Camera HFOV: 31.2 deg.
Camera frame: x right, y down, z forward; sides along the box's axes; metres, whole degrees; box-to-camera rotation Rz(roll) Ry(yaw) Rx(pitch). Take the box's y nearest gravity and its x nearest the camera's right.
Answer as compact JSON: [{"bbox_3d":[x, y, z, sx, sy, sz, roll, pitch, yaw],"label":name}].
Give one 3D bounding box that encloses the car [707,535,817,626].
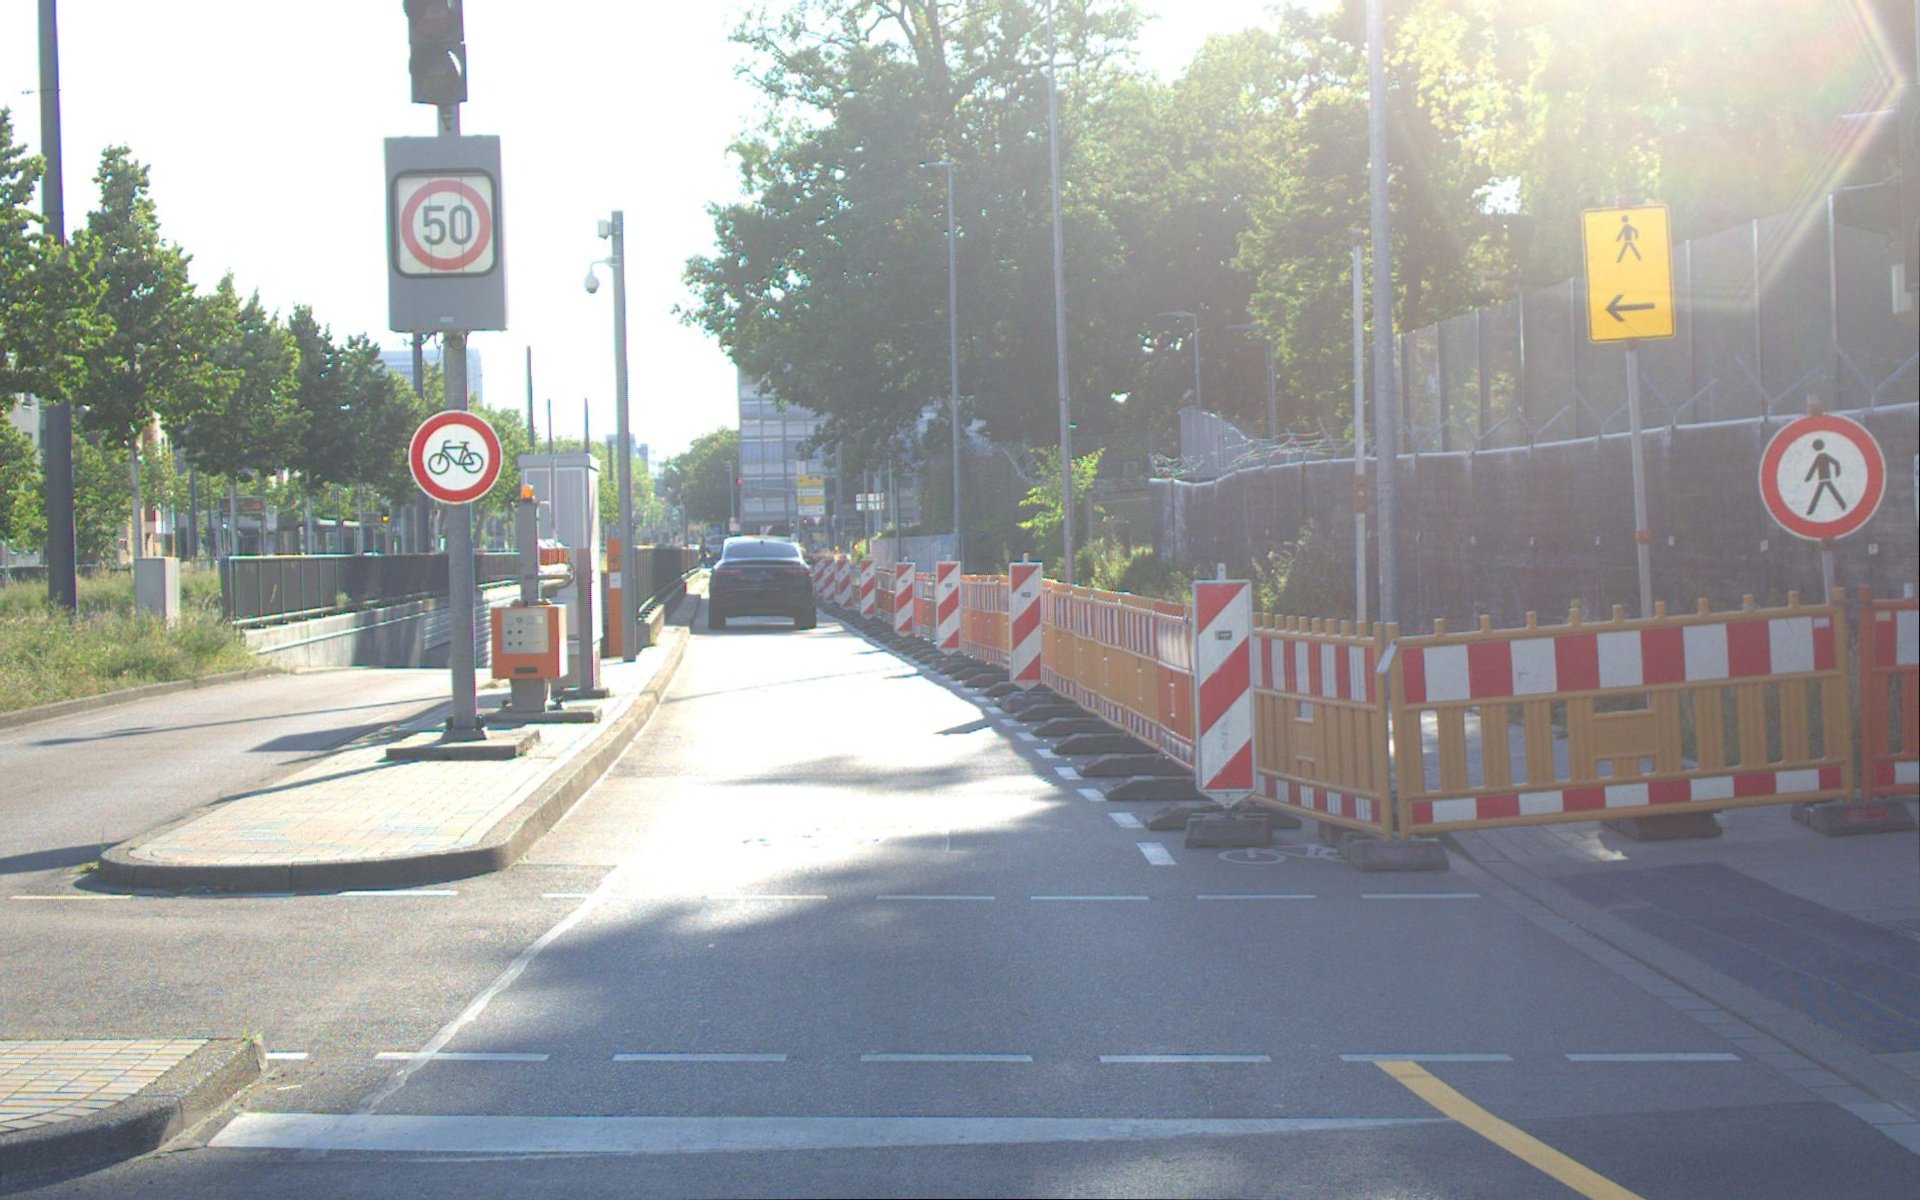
[{"bbox_3d":[-3.743,-0.372,65.133,2.005,1.653,4.000,1,0,-3],"label":"car"}]
